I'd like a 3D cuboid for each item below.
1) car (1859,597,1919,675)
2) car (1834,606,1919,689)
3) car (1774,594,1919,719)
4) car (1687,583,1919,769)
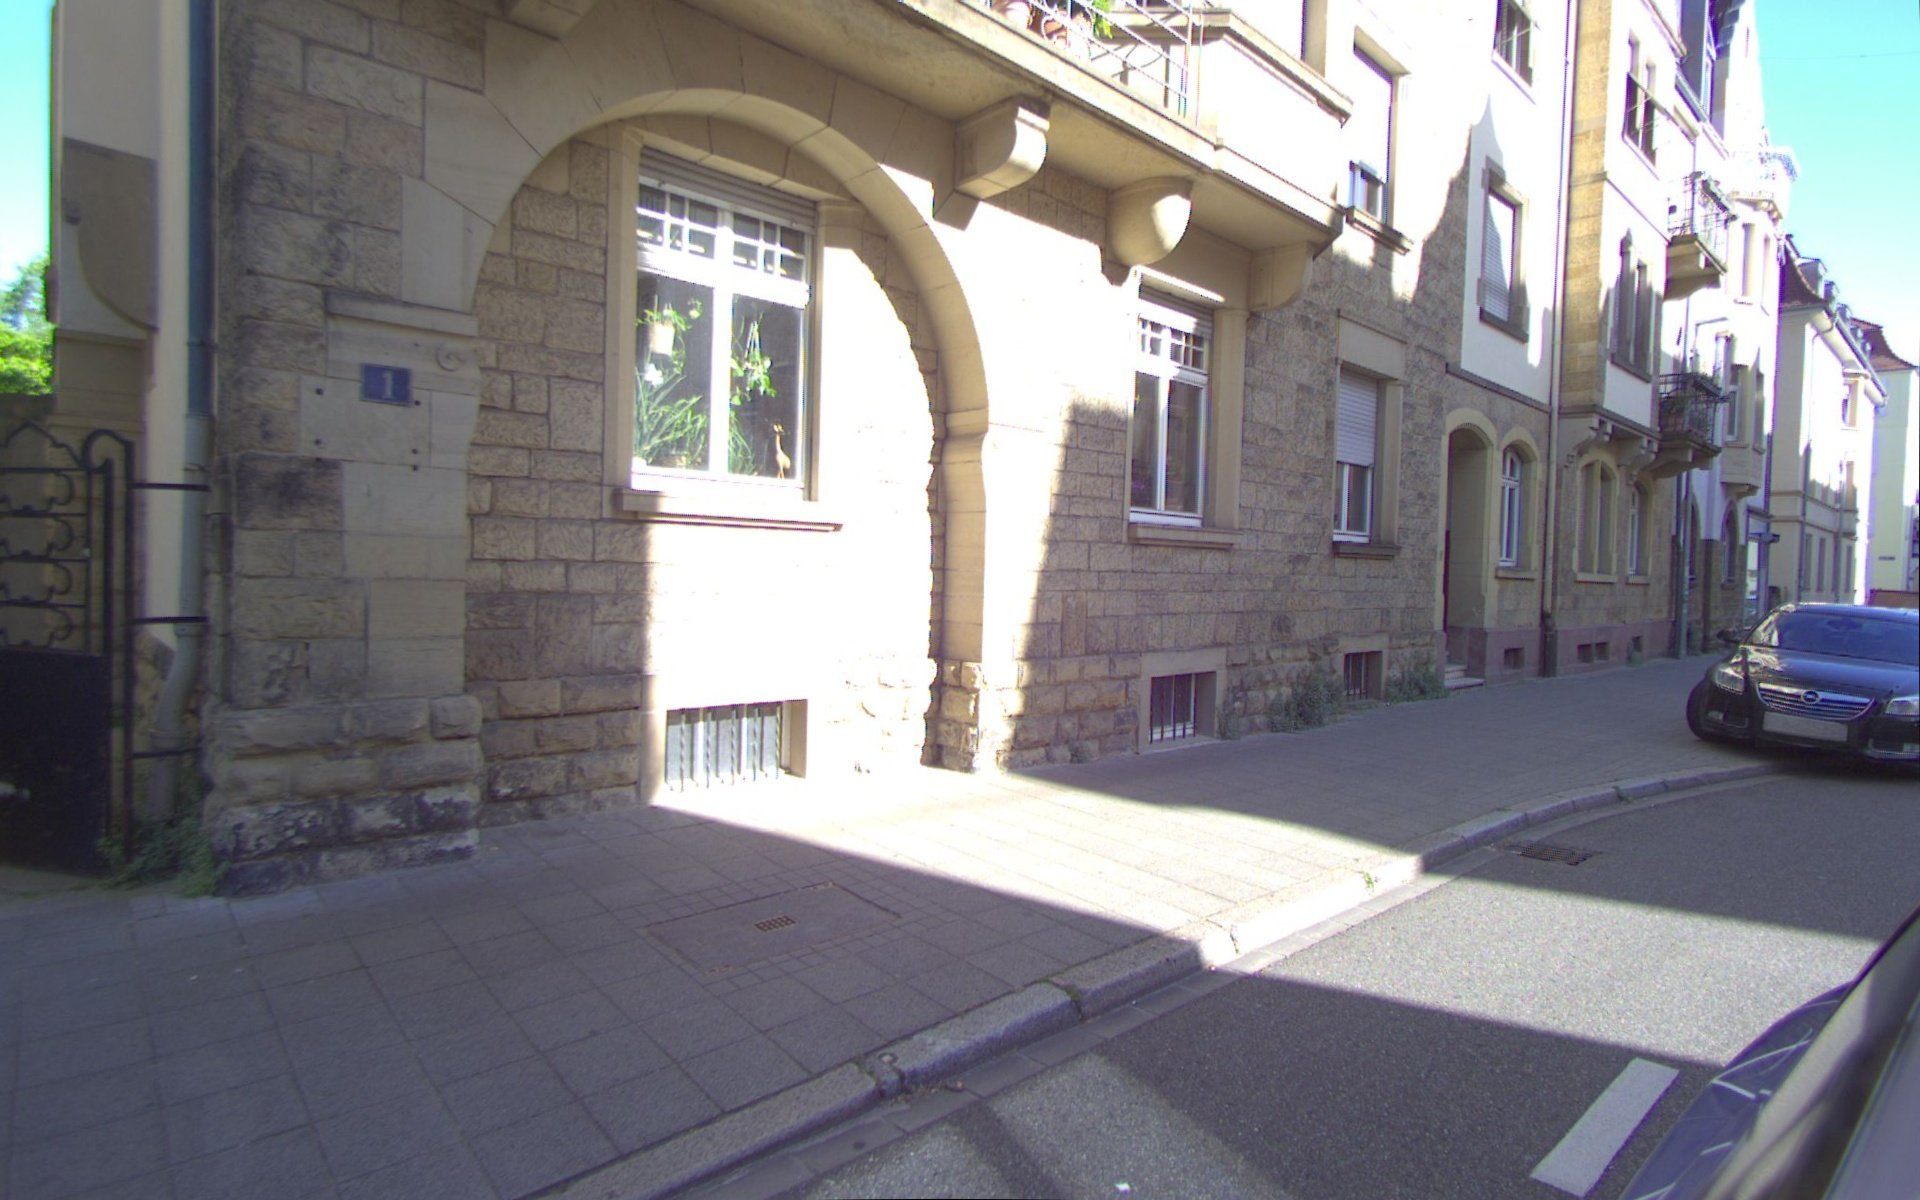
[{"bbox_3d":[19.760,0.707,20.772,1.786,1.447,3.747,3,2,44],"label":"car"},{"bbox_3d":[16.717,0.796,17.720,3.874,1.270,1.695,0,2,-43],"label":"car"},{"bbox_3d":[12.875,0.695,14.220,4.187,1.460,1.653,0,3,-44],"label":"car"},{"bbox_3d":[9.071,0.634,10.318,4.266,1.480,1.868,0,2,-43],"label":"car"}]
